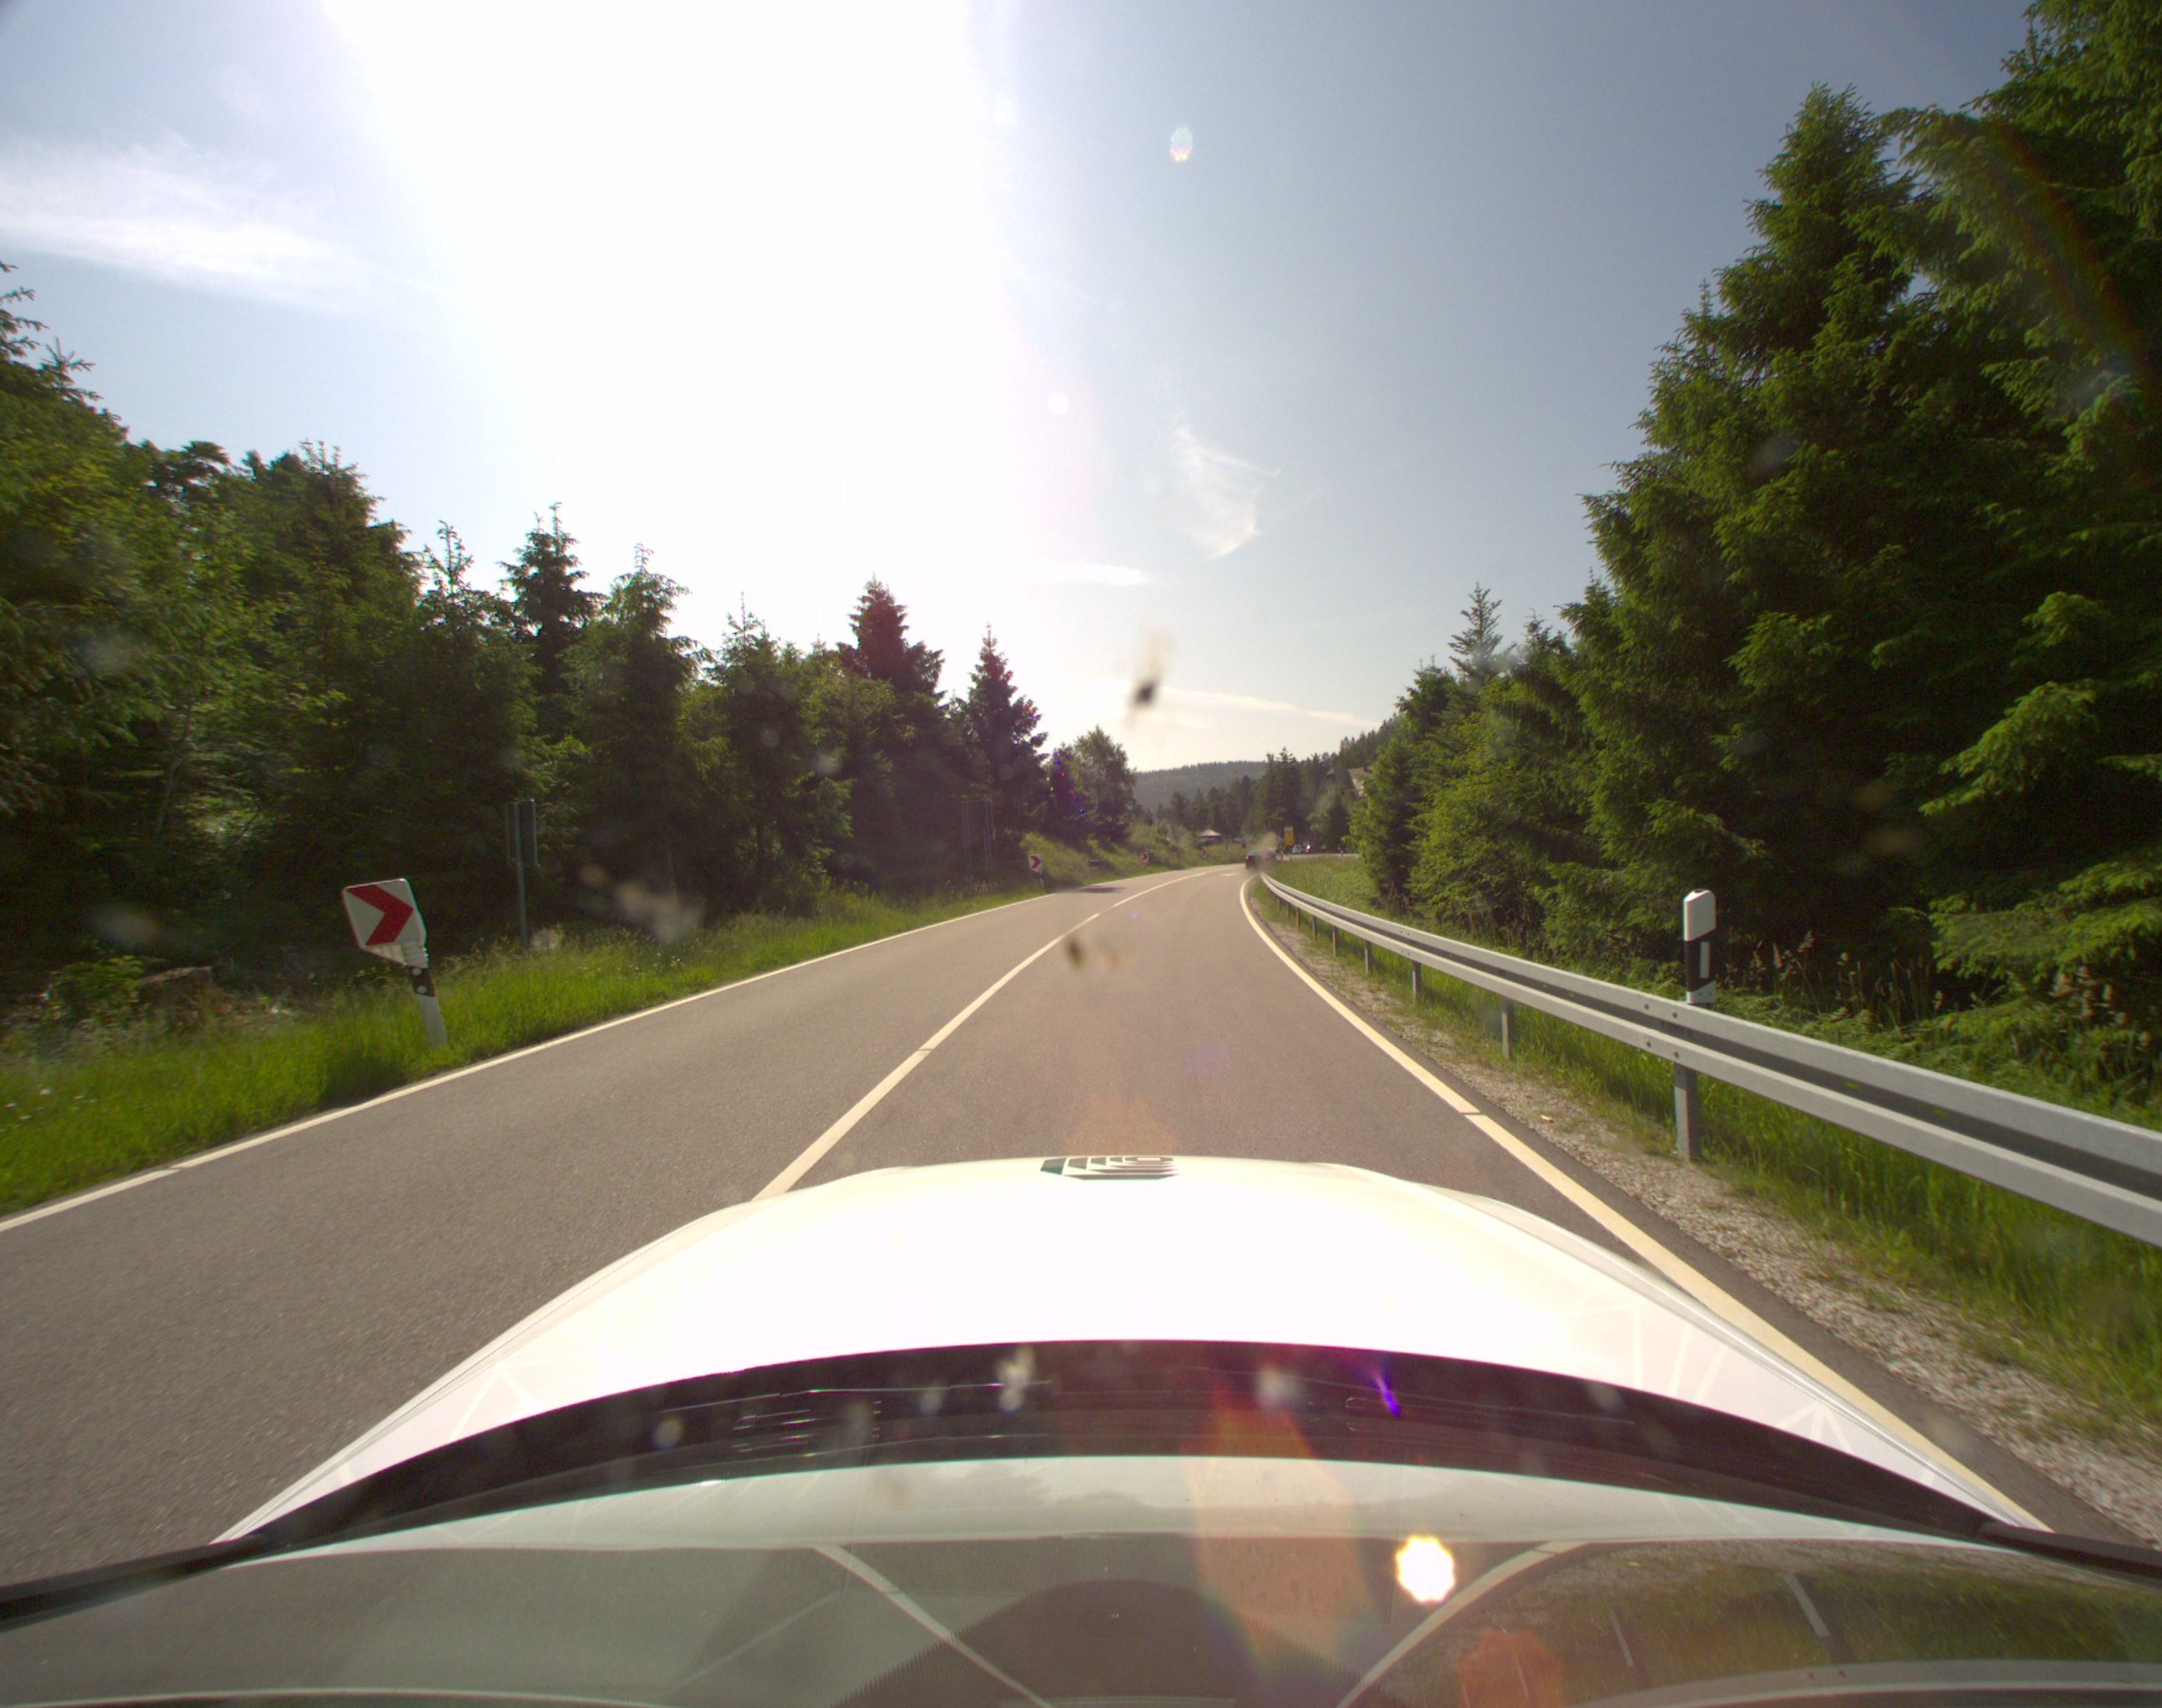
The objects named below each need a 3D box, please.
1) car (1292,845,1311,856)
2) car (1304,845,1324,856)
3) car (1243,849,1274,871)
[{"bbox_3d":[37.602,-0.568,138.841,1.836,1.671,4.413,-4,0,33],"label":"car"},{"bbox_3d":[39.165,-0.659,136.895,1.869,1.648,4.323,-4,0,34],"label":"car"},{"bbox_3d":[12.835,0.397,58.659,1.761,1.442,3.727,0,2,19],"label":"car"}]
